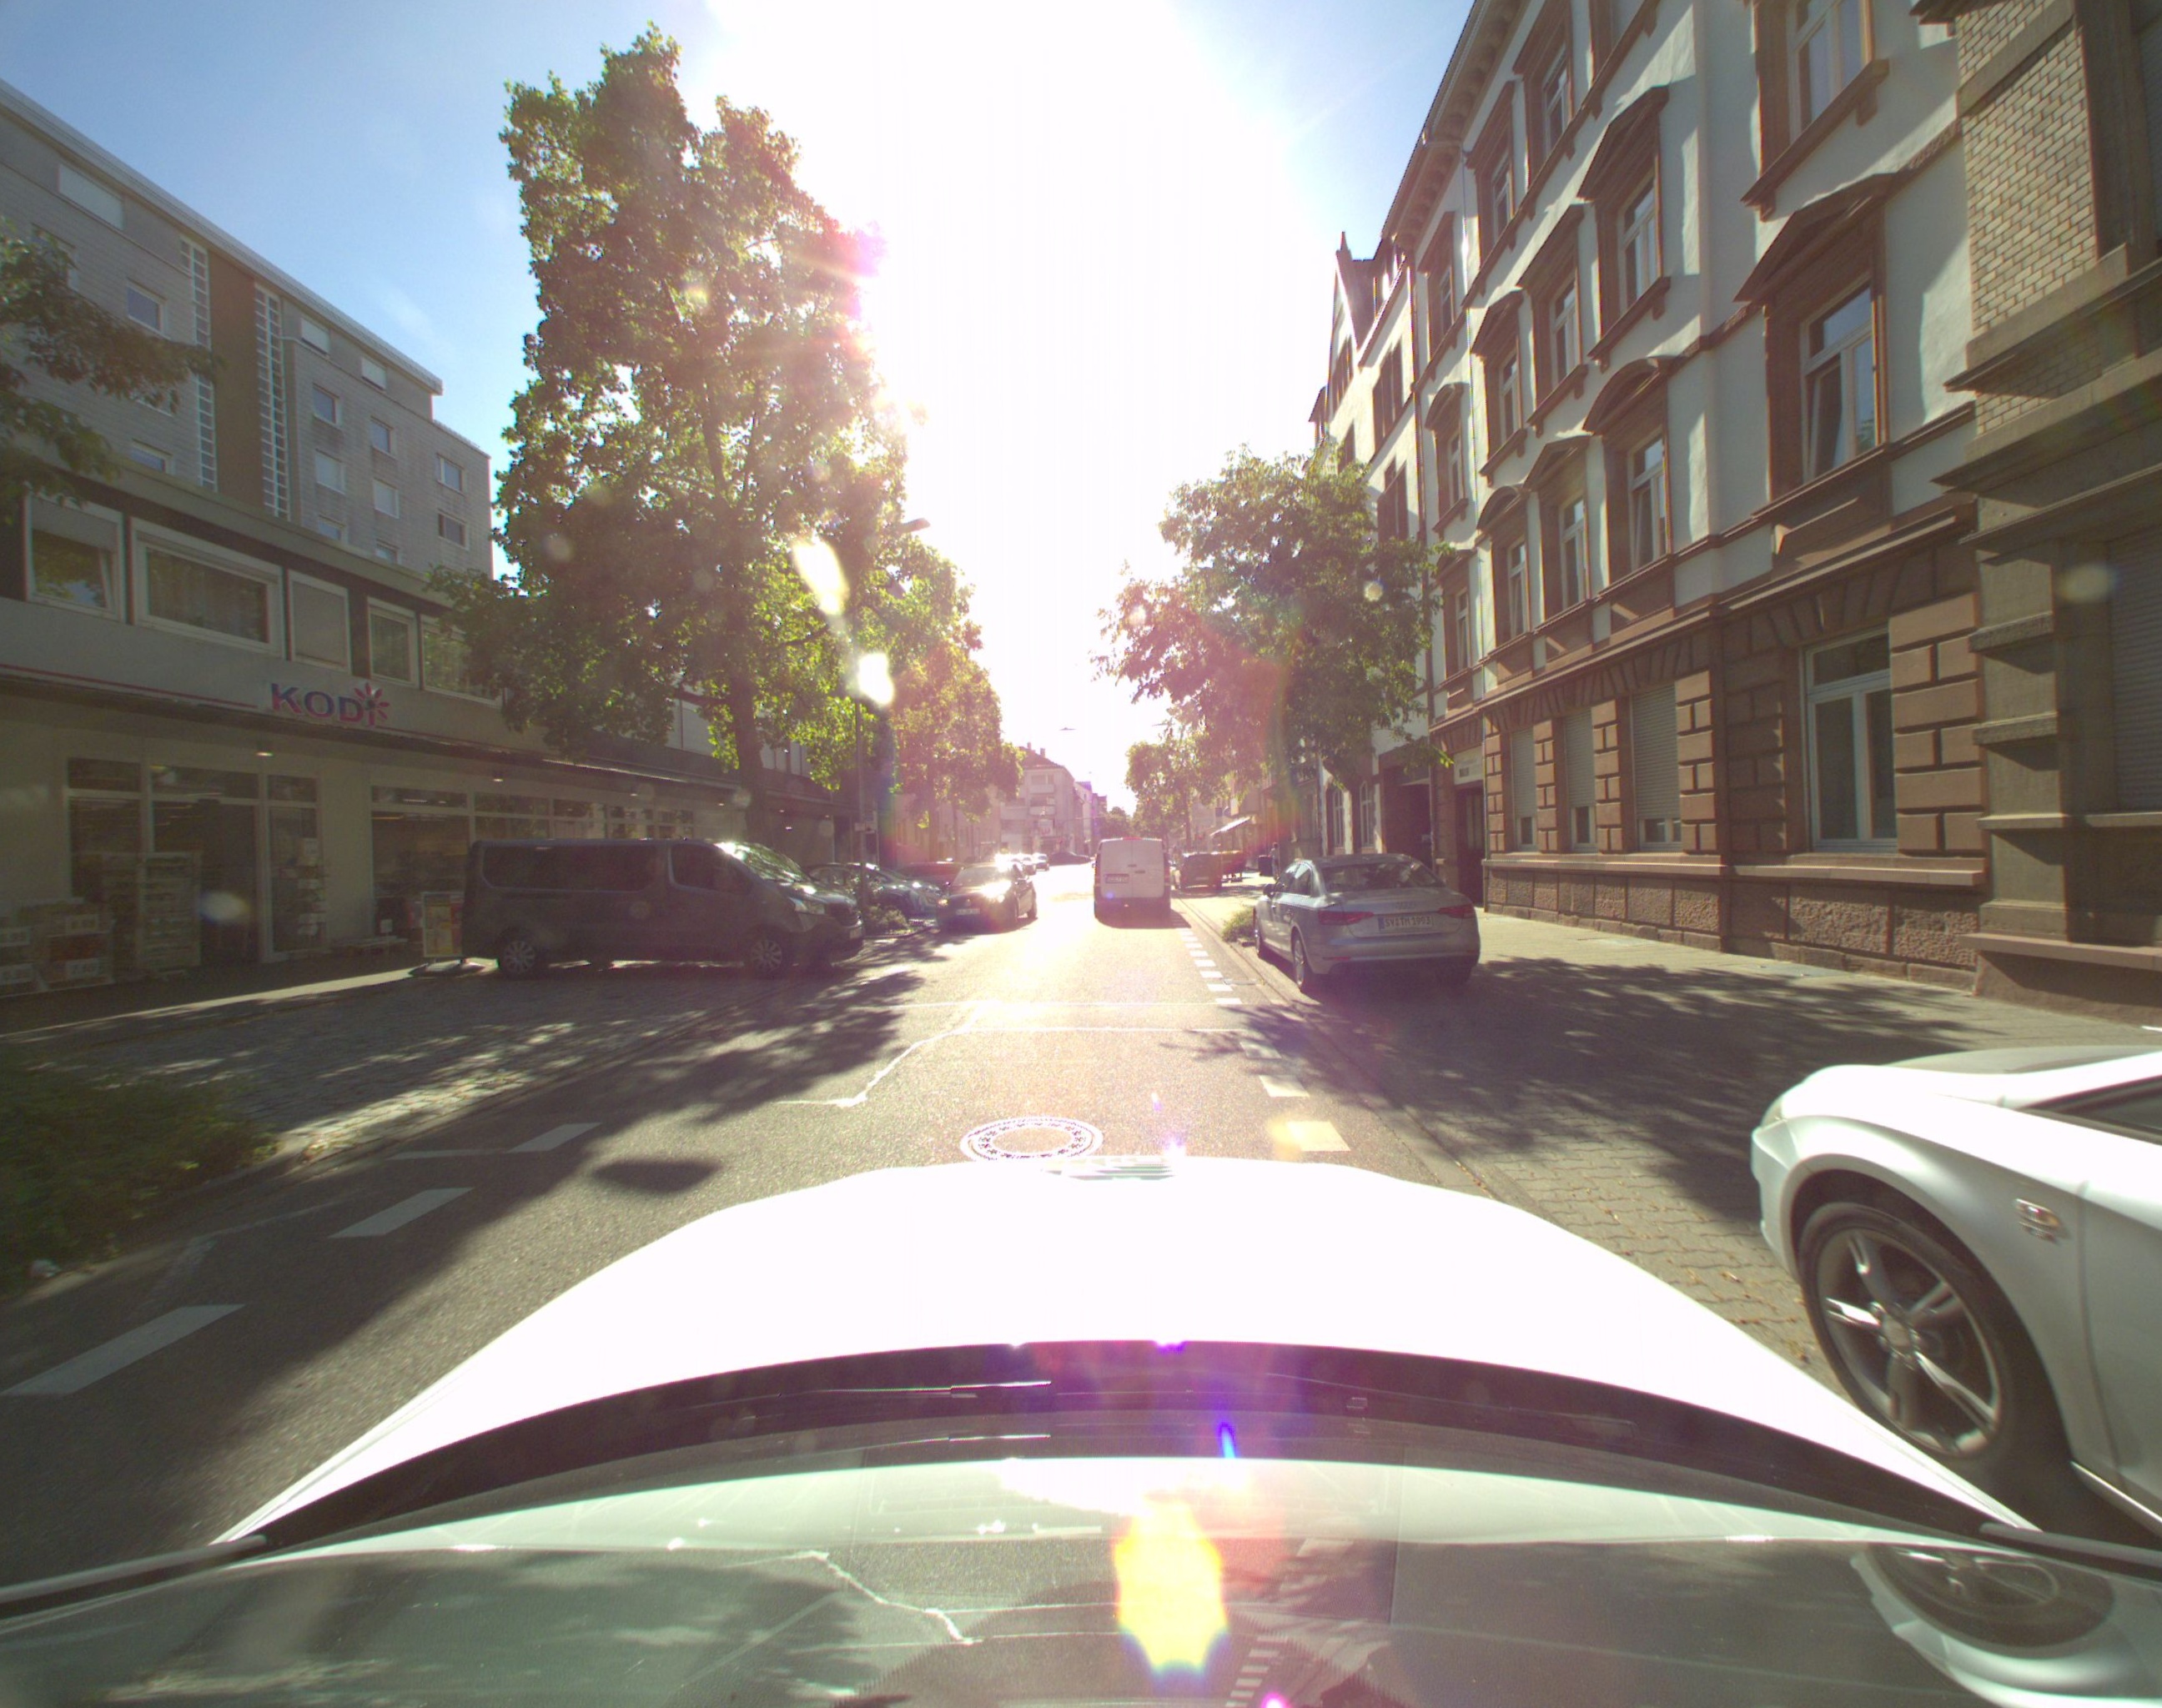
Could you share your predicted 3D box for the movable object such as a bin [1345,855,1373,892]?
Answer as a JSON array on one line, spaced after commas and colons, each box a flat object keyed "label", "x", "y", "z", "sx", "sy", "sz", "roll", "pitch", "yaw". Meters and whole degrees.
[{"label": "movable object such as a bin", "x": 8.175, "y": 0.566, "z": 23.988, "sx": 0.635, "sy": 1.069, "sz": 0.522, "roll": -2, "pitch": 0, "yaw": 3}]

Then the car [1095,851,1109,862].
[{"label": "car", "x": 2.686, "y": 0.288, "z": 105.119, "sx": 1.611, "sy": 1.398, "sz": 3.735, "roll": -1, "pitch": 0, "yaw": 3}]

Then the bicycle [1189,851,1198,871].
[{"label": "bicycle", "x": 7.196, "y": 0.424, "z": 52.120, "sx": 0.473, "sy": 1.274, "sz": 1.219, "roll": -2, "pitch": 0, "yaw": 3}]

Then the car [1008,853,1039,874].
[{"label": "car", "x": -4.263, "y": 0.674, "z": 61.219, "sx": 1.769, "sy": 1.469, "sz": 4.763, "roll": 1, "pitch": 0, "yaw": 3}]

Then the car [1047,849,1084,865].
[{"label": "car", "x": -1.661, "y": 0.293, "z": 89.268, "sx": 3.974, "sy": 1.640, "sz": 2.000, "roll": -2, "pitch": 0, "yaw": 0}]

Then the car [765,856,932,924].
[{"label": "car", "x": -5.668, "y": 0.847, "z": 20.117, "sx": 3.582, "sy": 1.552, "sz": 1.686, "roll": -1, "pitch": 0, "yaw": 3}]

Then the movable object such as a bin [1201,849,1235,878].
[{"label": "movable object such as a bin", "x": 6.820, "y": 0.480, "z": 40.551, "sx": 1.278, "sy": 1.347, "sz": 1.096, "roll": -2, "pitch": 0, "yaw": -39}]

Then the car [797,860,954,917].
[{"label": "car", "x": -5.801, "y": 0.963, "z": 23.336, "sx": 3.974, "sy": 1.463, "sz": 1.812, "roll": -1, "pitch": 0, "yaw": 0}]

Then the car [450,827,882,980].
[{"label": "car", "x": -5.848, "y": 0.675, "z": 11.938, "sx": 5.270, "sy": 1.974, "sz": 2.017, "roll": -1, "pitch": 0, "yaw": 3}]

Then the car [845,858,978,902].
[{"label": "car", "x": -5.961, "y": 0.898, "z": 28.860, "sx": 4.287, "sy": 1.433, "sz": 1.645, "roll": -1, "pitch": 0, "yaw": 3}]

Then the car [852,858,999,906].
[{"label": "car", "x": -4.905, "y": 0.878, "z": 26.005, "sx": 4.284, "sy": 1.460, "sz": 1.765, "roll": 0, "pitch": 0, "yaw": 5}]

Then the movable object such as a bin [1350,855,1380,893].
[{"label": "movable object such as a bin", "x": 8.151, "y": 0.565, "z": 23.426, "sx": 0.635, "sy": 1.069, "sz": 0.640, "roll": -2, "pitch": 0, "yaw": 3}]

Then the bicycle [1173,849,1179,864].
[{"label": "bicycle", "x": 8.506, "y": 0.216, "z": 72.883, "sx": 0.414, "sy": 1.310, "sz": 1.335, "roll": -2, "pitch": 0, "yaw": 1}]

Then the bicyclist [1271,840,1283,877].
[{"label": "bicyclist", "x": 8.048, "y": 0.186, "z": 33.444, "sx": 0.359, "sy": 1.477, "sz": 0.531, "roll": -1, "pitch": 0, "yaw": 6}]

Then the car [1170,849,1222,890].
[{"label": "car", "x": 4.597, "y": 0.582, "z": 32.948, "sx": 1.629, "sy": 1.475, "sz": 3.582, "roll": -2, "pitch": 0, "yaw": 2}]

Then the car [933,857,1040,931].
[{"label": "car", "x": -2.095, "y": 0.854, "z": 19.165, "sx": 1.755, "sy": 1.438, "sz": 3.964, "roll": -3, "pitch": 0, "yaw": 3}]

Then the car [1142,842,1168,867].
[{"label": "car", "x": 6.021, "y": 0.058, "z": 66.815, "sx": 1.809, "sy": 1.921, "sz": 4.647, "roll": -2, "pitch": 0, "yaw": 2}]

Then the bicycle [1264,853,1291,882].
[{"label": "bicycle", "x": 8.077, "y": 0.543, "z": 33.558, "sx": 0.534, "sy": 1.148, "sz": 2.123, "roll": -4, "pitch": 0, "yaw": 0}]

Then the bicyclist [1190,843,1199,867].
[{"label": "bicyclist", "x": 7.253, "y": 0.083, "z": 52.199, "sx": 0.437, "sy": 1.508, "sz": 0.497, "roll": 4, "pitch": 0, "yaw": 3}]

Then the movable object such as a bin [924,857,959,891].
[{"label": "movable object such as a bin", "x": -6.320, "y": 0.905, "z": 36.904, "sx": 1.222, "sy": 1.450, "sz": 1.079, "roll": -2, "pitch": 0, "yaw": 11}]

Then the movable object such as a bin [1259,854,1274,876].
[{"label": "movable object such as a bin", "x": 9.202, "y": 0.539, "z": 40.356, "sx": 0.596, "sy": 1.042, "sz": 0.546, "roll": -2, "pitch": 0, "yaw": 2}]

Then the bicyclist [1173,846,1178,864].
[{"label": "bicyclist", "x": 8.490, "y": 0.061, "z": 73.046, "sx": 0.354, "sy": 1.575, "sz": 0.481, "roll": -1, "pitch": 0, "yaw": 0}]

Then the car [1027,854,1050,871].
[{"label": "car", "x": -3.714, "y": 0.721, "z": 71.689, "sx": 1.646, "sy": 1.479, "sz": 4.002, "roll": 0, "pitch": 0, "yaw": 2}]

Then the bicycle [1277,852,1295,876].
[{"label": "bicycle", "x": 9.238, "y": 0.446, "z": 36.807, "sx": 0.430, "sy": 1.030, "sz": 1.429, "roll": -5, "pitch": 0, "yaw": 3}]

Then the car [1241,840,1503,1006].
[{"label": "car", "x": 3.164, "y": 0.644, "z": 9.842, "sx": 1.731, "sy": 1.451, "sz": 4.311, "roll": -4, "pitch": 0, "yaw": 3}]

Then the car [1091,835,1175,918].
[{"label": "car", "x": 1.300, "y": 0.500, "z": 21.363, "sx": 1.913, "sy": 1.914, "sz": 4.891, "roll": -1, "pitch": 0, "yaw": 2}]

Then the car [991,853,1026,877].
[{"label": "car", "x": -4.835, "y": 0.718, "z": 54.896, "sx": 1.713, "sy": 1.497, "sz": 4.630, "roll": 1, "pitch": 0, "yaw": 3}]

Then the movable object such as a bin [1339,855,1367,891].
[{"label": "movable object such as a bin", "x": 8.203, "y": 0.563, "z": 24.582, "sx": 0.635, "sy": 1.069, "sz": 0.632, "roll": -2, "pitch": 0, "yaw": 3}]

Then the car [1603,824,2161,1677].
[{"label": "car", "x": 2.679, "y": 0.666, "z": 0.917, "sx": 1.731, "sy": 1.451, "sz": 4.003, "roll": -2, "pitch": 0, "yaw": 3}]

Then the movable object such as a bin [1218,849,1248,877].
[{"label": "movable object such as a bin", "x": 7.779, "y": 0.462, "z": 41.621, "sx": 1.028, "sy": 1.347, "sz": 1.115, "roll": -2, "pitch": 0, "yaw": 42}]
